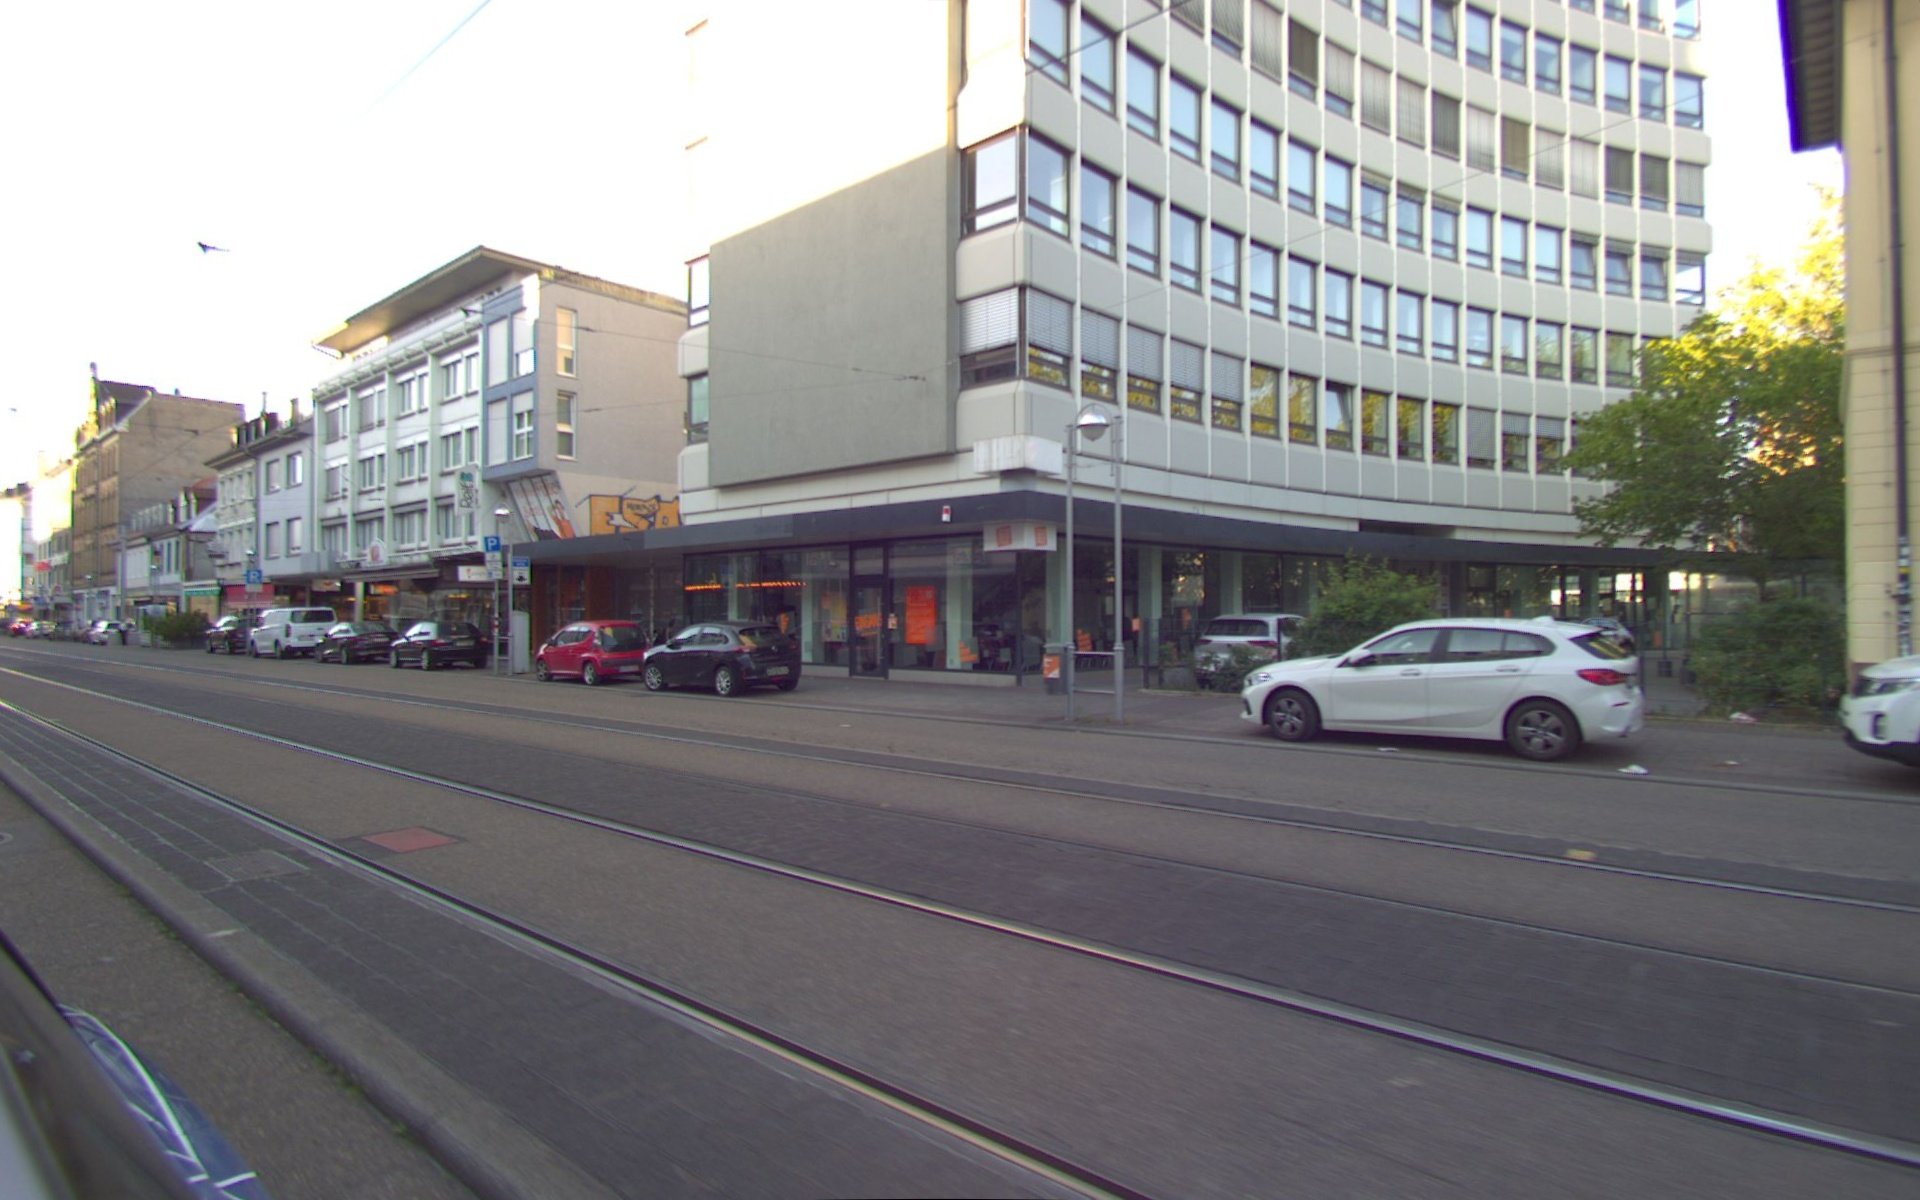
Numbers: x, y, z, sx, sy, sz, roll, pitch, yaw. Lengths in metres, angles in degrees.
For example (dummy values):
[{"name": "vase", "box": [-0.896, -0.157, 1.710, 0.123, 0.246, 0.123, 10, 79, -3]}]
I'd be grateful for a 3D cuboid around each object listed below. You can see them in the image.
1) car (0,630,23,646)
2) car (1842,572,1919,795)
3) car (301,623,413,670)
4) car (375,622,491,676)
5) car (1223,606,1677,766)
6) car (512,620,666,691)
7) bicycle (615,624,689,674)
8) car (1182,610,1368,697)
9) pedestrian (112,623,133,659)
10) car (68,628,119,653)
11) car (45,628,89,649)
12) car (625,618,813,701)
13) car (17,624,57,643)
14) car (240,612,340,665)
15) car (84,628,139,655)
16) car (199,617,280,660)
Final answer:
[{"name": "car", "box": [-93.088, 3.719, 98.773, 3.998, 1.564, 1.973, -2, -2, 41]}, {"name": "car", "box": [9.873, 0.639, 7.823, 4.493, 1.799, 1.795, -1, 1, 39]}, {"name": "car", "box": [-20.922, 1.574, 35.042, 4.555, 1.477, 1.973, -2, -1, 40]}, {"name": "car", "box": [-16.097, 1.453, 30.812, 4.444, 1.523, 1.668, -2, -2, 42]}, {"name": "car", "box": [5.524, 0.881, 11.808, 4.432, 1.523, 1.792, -2, -2, 43]}, {"name": "car", "box": [-9.017, 1.292, 24.433, 4.213, 1.523, 1.668, -2, 0, 42]}, {"name": "bicycle", "box": [-9.014, 1.414, 29.698, 0.833, 1.436, 1.948, -2, -2, 39]}, {"name": "car", "box": [6.049, 0.950, 19.180, 1.846, 1.478, 3.943, -2, -2, 43]}, {"name": "pedestrian", "box": [-47.899, 2.346, 57.863, 0.811, 2.029, 0.714, 1, -2, -33]}, {"name": "car", "box": [-56.895, 2.618, 66.443, 4.550, 1.556, 1.889, -2, -2, 41]}, {"name": "car", "box": [-67.845, 2.924, 76.855, 3.998, 1.564, 1.973, -2, -2, 41]}, {"name": "car", "box": [-5.057, 1.165, 20.955, 4.213, 1.523, 1.668, -2, -1, 42]}, {"name": "car", "box": [-76.592, 2.775, 83.959, 4.204, 1.564, 1.973, -2, -2, 41]}, {"name": "car", "box": [-26.569, 1.498, 40.068, 5.159, 1.992, 1.935, -2, -2, 40]}, {"name": "car", "box": [-52.755, 2.537, 62.873, 4.877, 1.556, 1.972, -2, -1, 42]}, {"name": "car", "box": [-31.990, 1.697, 44.879, 4.524, 1.734, 1.839, -2, 1, 40]}]
